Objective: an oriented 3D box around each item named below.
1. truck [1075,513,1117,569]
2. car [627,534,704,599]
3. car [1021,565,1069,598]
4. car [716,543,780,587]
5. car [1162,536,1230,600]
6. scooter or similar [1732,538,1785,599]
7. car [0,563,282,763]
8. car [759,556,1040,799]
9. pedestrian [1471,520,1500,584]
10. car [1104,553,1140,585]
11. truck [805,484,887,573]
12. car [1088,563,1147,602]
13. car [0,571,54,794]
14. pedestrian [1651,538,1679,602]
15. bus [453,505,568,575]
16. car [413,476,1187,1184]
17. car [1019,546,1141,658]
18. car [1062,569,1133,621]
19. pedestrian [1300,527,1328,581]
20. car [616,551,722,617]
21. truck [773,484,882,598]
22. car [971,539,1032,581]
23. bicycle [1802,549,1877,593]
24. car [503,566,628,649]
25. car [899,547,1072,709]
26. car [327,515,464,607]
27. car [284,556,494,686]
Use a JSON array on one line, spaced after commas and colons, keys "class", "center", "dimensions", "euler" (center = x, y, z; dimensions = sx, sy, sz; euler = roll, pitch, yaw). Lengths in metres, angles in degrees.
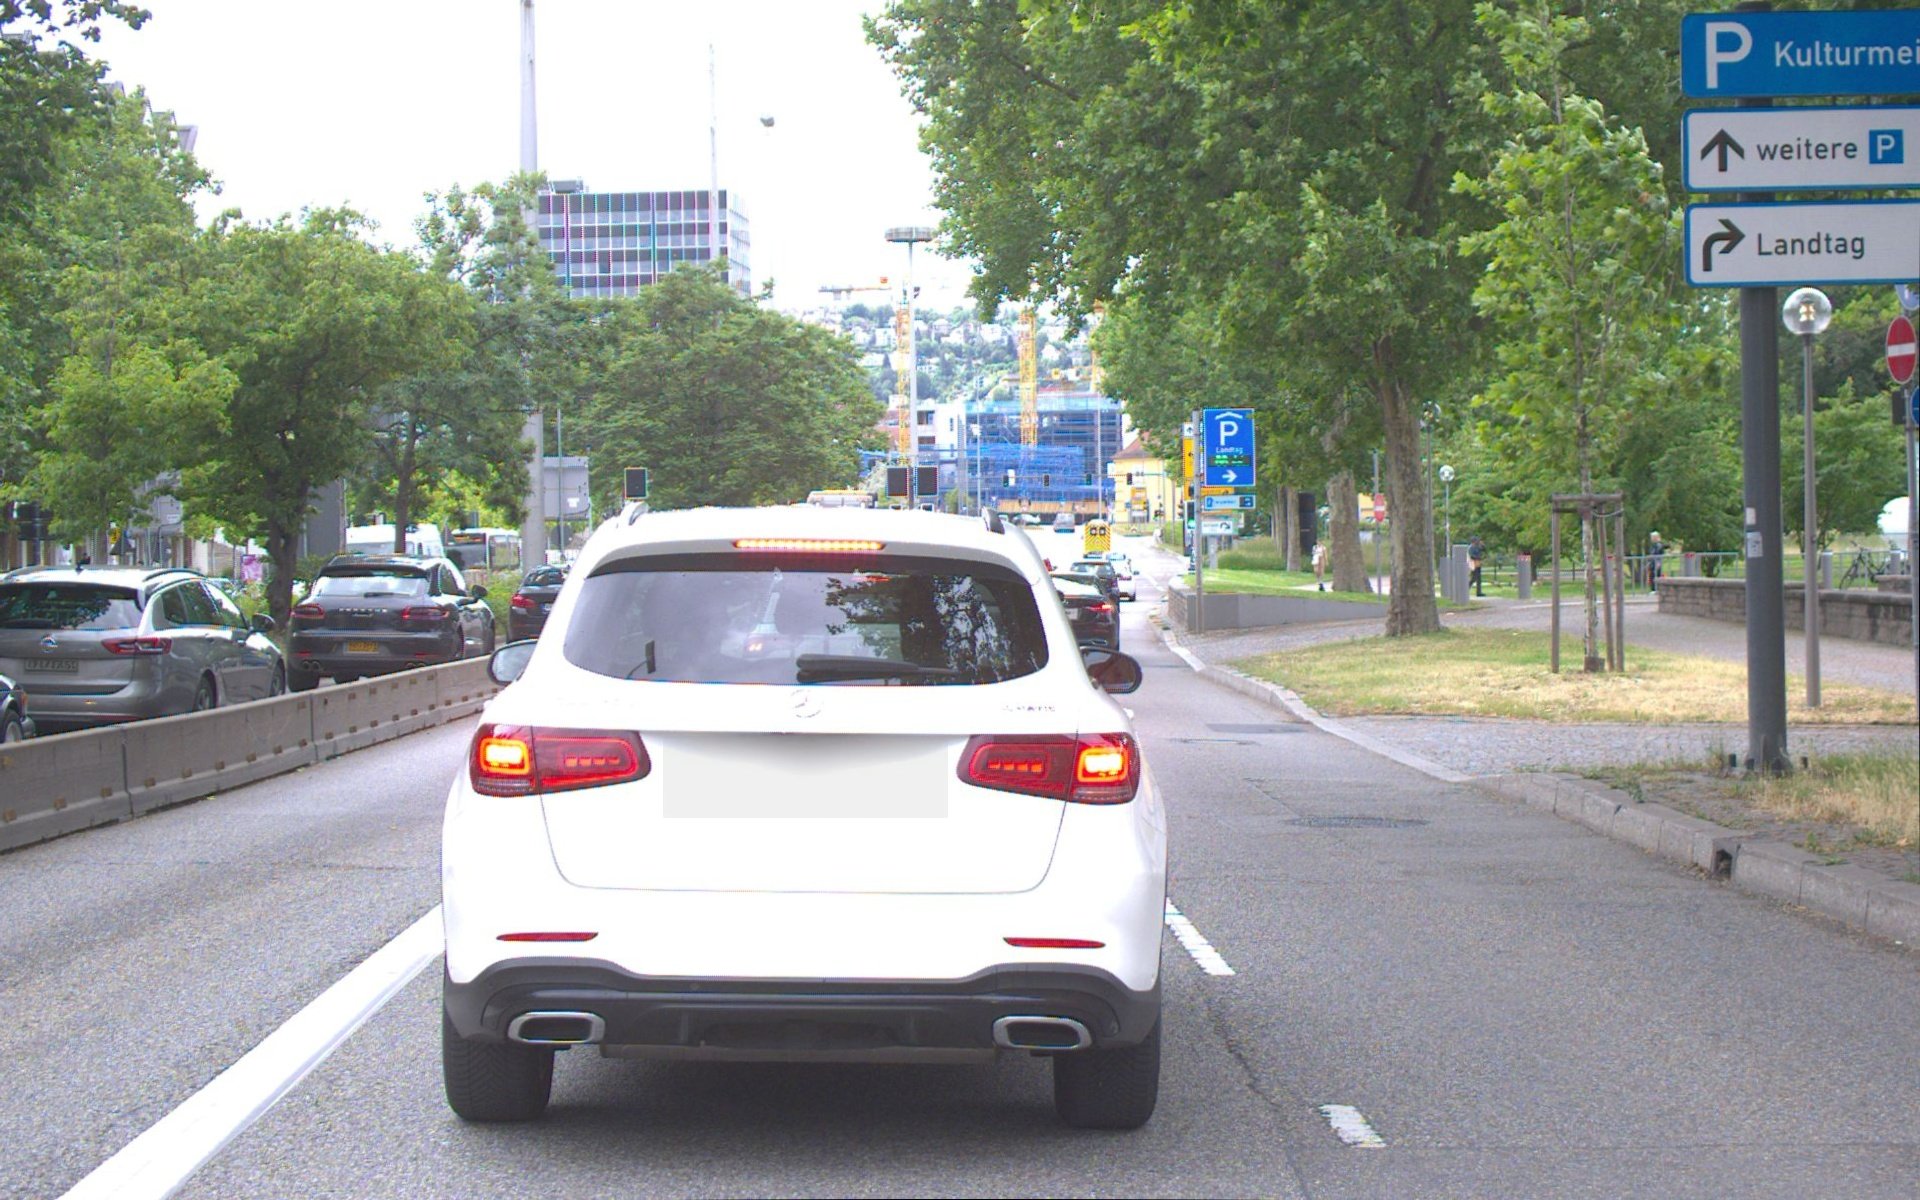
[{"class": "truck", "center": [10.122, -4.408, 256.449], "dimensions": [2.877, 4.089, 6.638], "euler": [1, 1, 1]}, {"class": "car", "center": [-7.026, -0.796, 82.250], "dimensions": [1.659, 1.508, 3.548], "euler": [0, 0, -2]}, {"class": "car", "center": [3.537, -0.776, 142.711], "dimensions": [1.947, 1.315, 4.016], "euler": [0, 0, 2]}, {"class": "car", "center": [-6.498, -1.072, 105.805], "dimensions": [1.659, 1.315, 3.547], "euler": [0, 0, 1]}, {"class": "car", "center": [7.548, -1.013, 110.443], "dimensions": [1.993, 2.007, 4.000], "euler": [0, 0, 1]}, {"class": "scooter or similar", "center": [16.621, -0.653, 71.602], "dimensions": [0.636, 1.241, 2.225], "euler": [2, 0, 3]}, {"class": "car", "center": [-6.488, 0.443, 26.690], "dimensions": [1.661, 1.431, 3.960], "euler": [0, 0, 0]}, {"class": "car", "center": [-0.506, 0.504, 24.657], "dimensions": [1.795, 1.603, 3.755], "euler": [0, 0, -4]}, {"class": "pedestrian", "center": [14.254, -1.293, 93.318], "dimensions": [0.759, 1.719, 0.698], "euler": [0, 1, 8]}, {"class": "car", "center": [8.711, -1.680, 185.166], "dimensions": [1.758, 1.663, 4.168], "euler": [0, 1, 1]}, {"class": "truck", "center": [-4.017, -2.500, 121.745], "dimensions": [2.691, 2.981, 5.638], "euler": [2, 0, -1]}, {"class": "car", "center": [5.432, -0.600, 119.281], "dimensions": [1.947, 1.315, 4.016], "euler": [0, 0, 1]}, {"class": "car", "center": [-6.716, 0.529, 20.022], "dimensions": [1.678, 1.362, 4.543], "euler": [0, 1, 0]}, {"class": "pedestrian", "center": [17.639, -0.756, 85.987], "dimensions": [0.638, 1.605, 0.663], "euler": [0, 1, 8]}, {"class": "bus", "center": [-21.347, -2.846, 164.274], "dimensions": [3.667, 3.194, 14.274], "euler": [-1, 1, 0]}, {"class": "car", "center": [-0.558, 0.495, 10.245], "dimensions": [1.788, 1.619, 4.438], "euler": [-1, 1, -5]}, {"class": "car", "center": [1.914, -0.001, 56.034], "dimensions": [1.825, 1.746, 4.000], "euler": [0, 1, 0]}, {"class": "car", "center": [3.894, -0.152, 97.967], "dimensions": [1.947, 1.423, 4.016], "euler": [0, 0, 1]}, {"class": "pedestrian", "center": [13.048, -1.698, 126.618], "dimensions": [0.761, 2.007, 0.697], "euler": [0, 1, 37]}, {"class": "car", "center": [-5.933, -0.332, 70.439], "dimensions": [1.659, 1.315, 3.547], "euler": [0, 0, 3]}, {"class": "truck", "center": [-3.413, -1.535, 90.156], "dimensions": [2.621, 2.851, 7.079], "euler": [1, 1, -1]}, {"class": "car", "center": [1.371, -1.308, 113.122], "dimensions": [1.947, 1.315, 4.016], "euler": [0, 0, 1]}, {"class": "bicycle", "center": [19.894, -0.649, 77.818], "dimensions": [0.954, 0.972, 2.787], "euler": [2, 0, 0]}, {"class": "car", "center": [-6.484, 0.104, 56.799], "dimensions": [1.659, 1.315, 3.547], "euler": [0, 0, 0]}, {"class": "car", "center": [0.230, 0.270, 36.528], "dimensions": [1.659, 1.633, 3.548], "euler": [0, 0, -2]}, {"class": "car", "center": [-12.597, -0.877, 77.018], "dimensions": [2.115, 1.962, 5.578], "euler": [-1, 1, 0]}, {"class": "car", "center": [-6.632, 0.214, 40.317], "dimensions": [1.776, 1.415, 4.000], "euler": [0, 1, 0]}]
